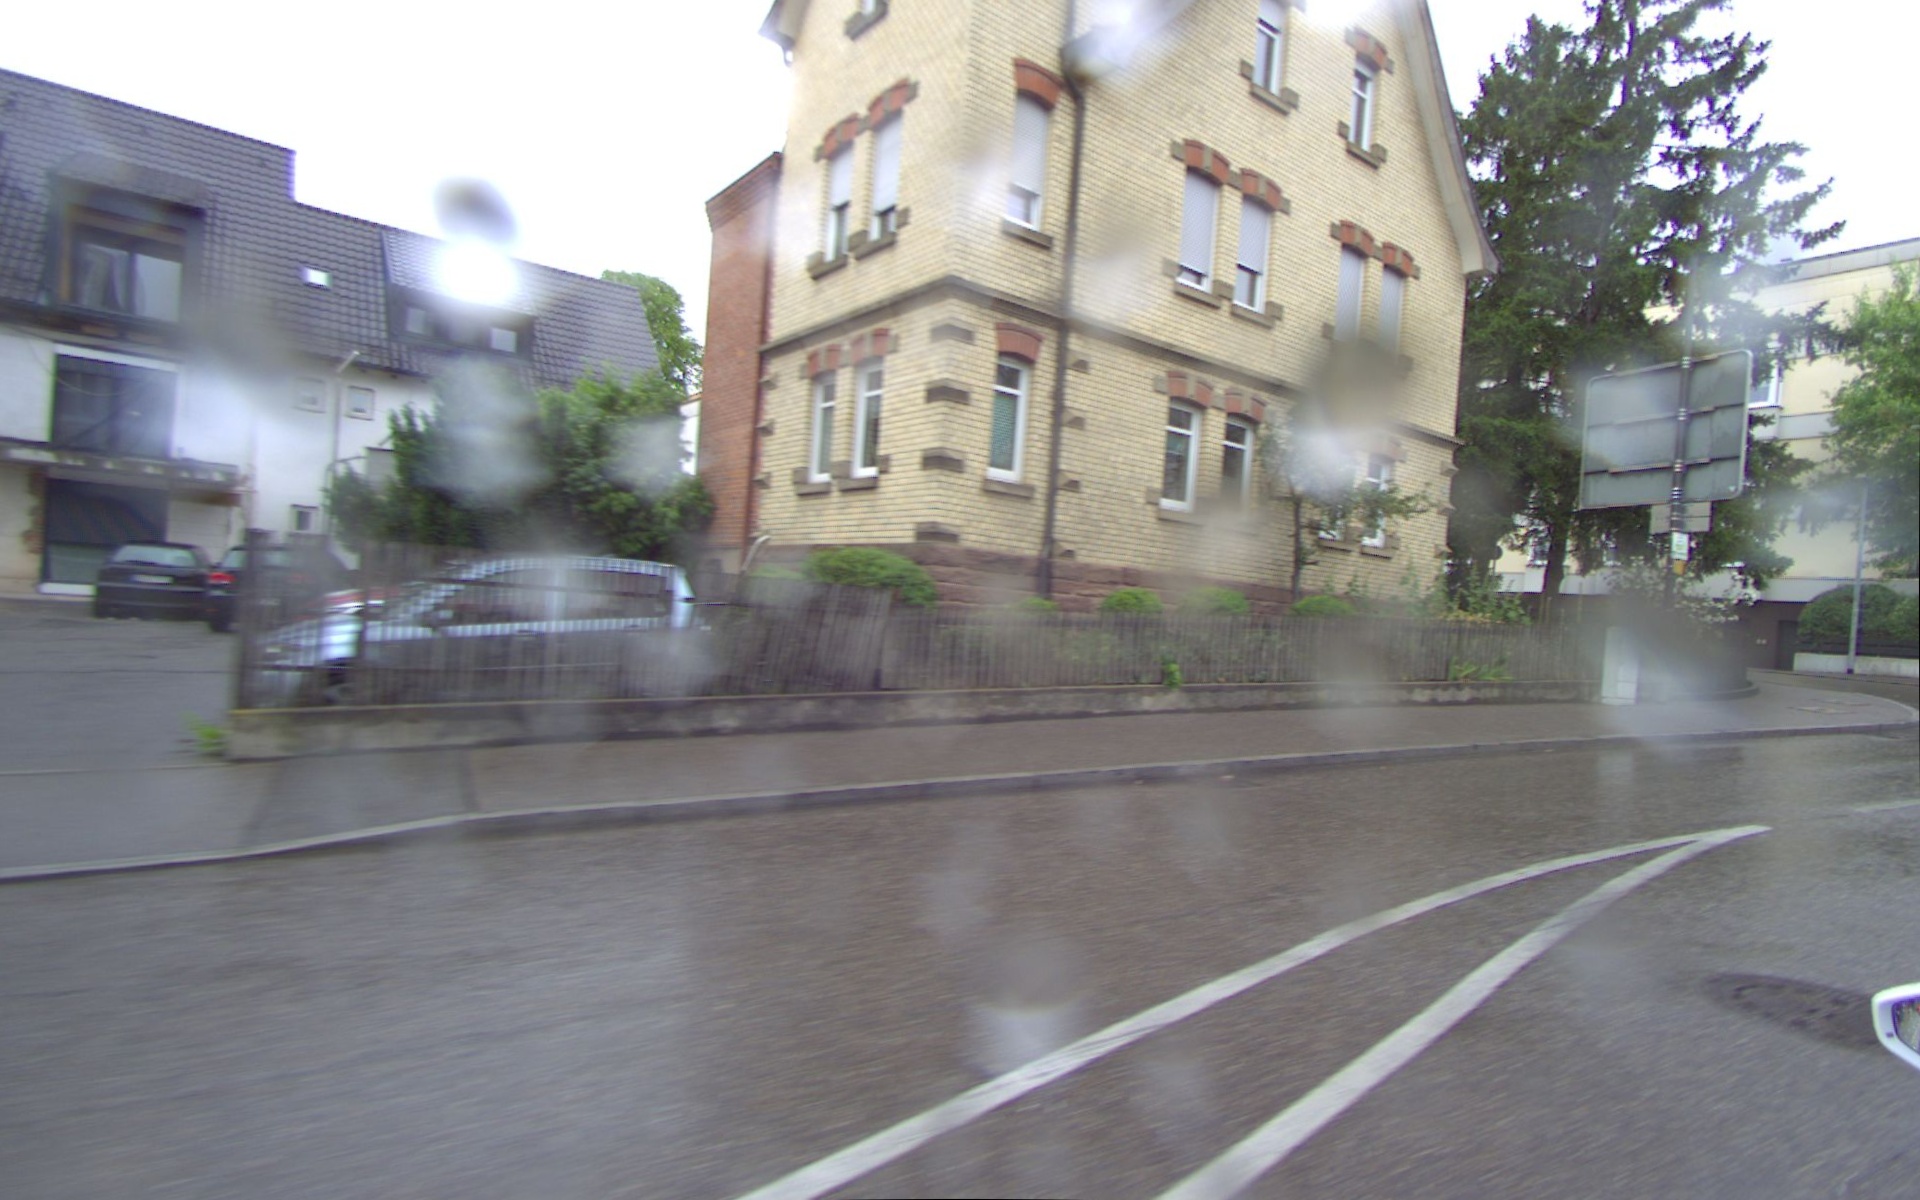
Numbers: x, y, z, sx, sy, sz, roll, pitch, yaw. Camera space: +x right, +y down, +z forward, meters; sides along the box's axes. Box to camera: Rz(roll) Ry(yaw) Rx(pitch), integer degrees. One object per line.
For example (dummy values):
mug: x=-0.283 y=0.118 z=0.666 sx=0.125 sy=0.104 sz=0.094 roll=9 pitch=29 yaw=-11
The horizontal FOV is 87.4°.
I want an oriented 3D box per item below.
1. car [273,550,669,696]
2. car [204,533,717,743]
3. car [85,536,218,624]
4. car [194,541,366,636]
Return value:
car: x=-5.537 y=0.208 z=11.538 sx=3.845 sy=1.386 sz=1.758 roll=1 pitch=3 yaw=-36
car: x=-4.370 y=0.250 z=9.090 sx=3.843 sy=1.523 sz=1.759 roll=1 pitch=3 yaw=-35
car: x=-15.373 y=-0.430 z=19.253 sx=1.827 sy=1.486 sz=3.537 roll=1 pitch=3 yaw=-37
car: x=-11.953 y=-0.261 z=17.902 sx=1.818 sy=1.486 sz=3.555 roll=1 pitch=3 yaw=-22
